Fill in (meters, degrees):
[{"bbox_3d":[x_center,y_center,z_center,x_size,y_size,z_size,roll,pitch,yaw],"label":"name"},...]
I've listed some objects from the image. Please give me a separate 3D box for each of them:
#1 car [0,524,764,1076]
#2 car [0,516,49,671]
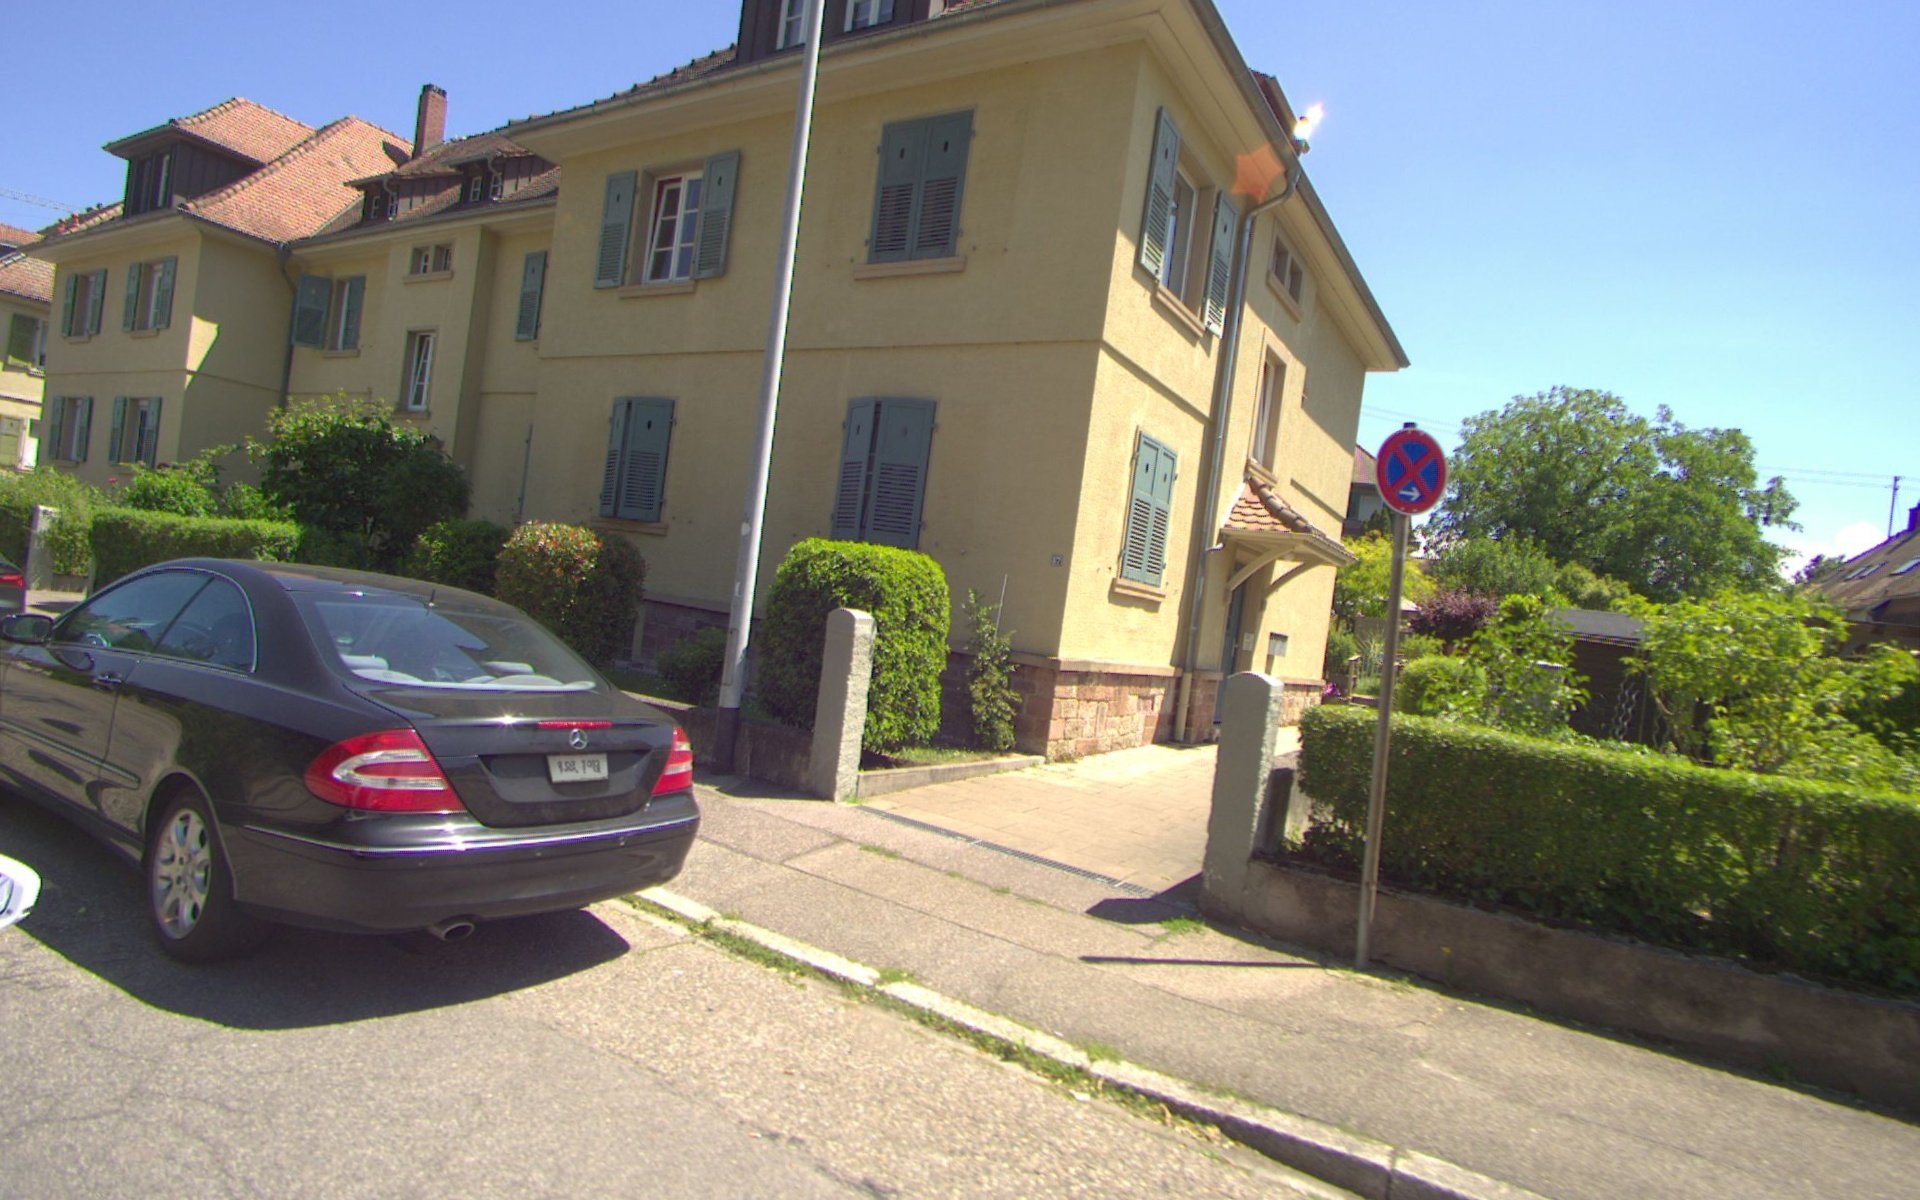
[{"bbox_3d":[-3.253,0.539,4.815,4.476,1.435,1.695,6,-2,32],"label":"car"},{"bbox_3d":[-10.939,-0.332,9.812,4.531,1.387,1.764,7,-1,32],"label":"car"}]
